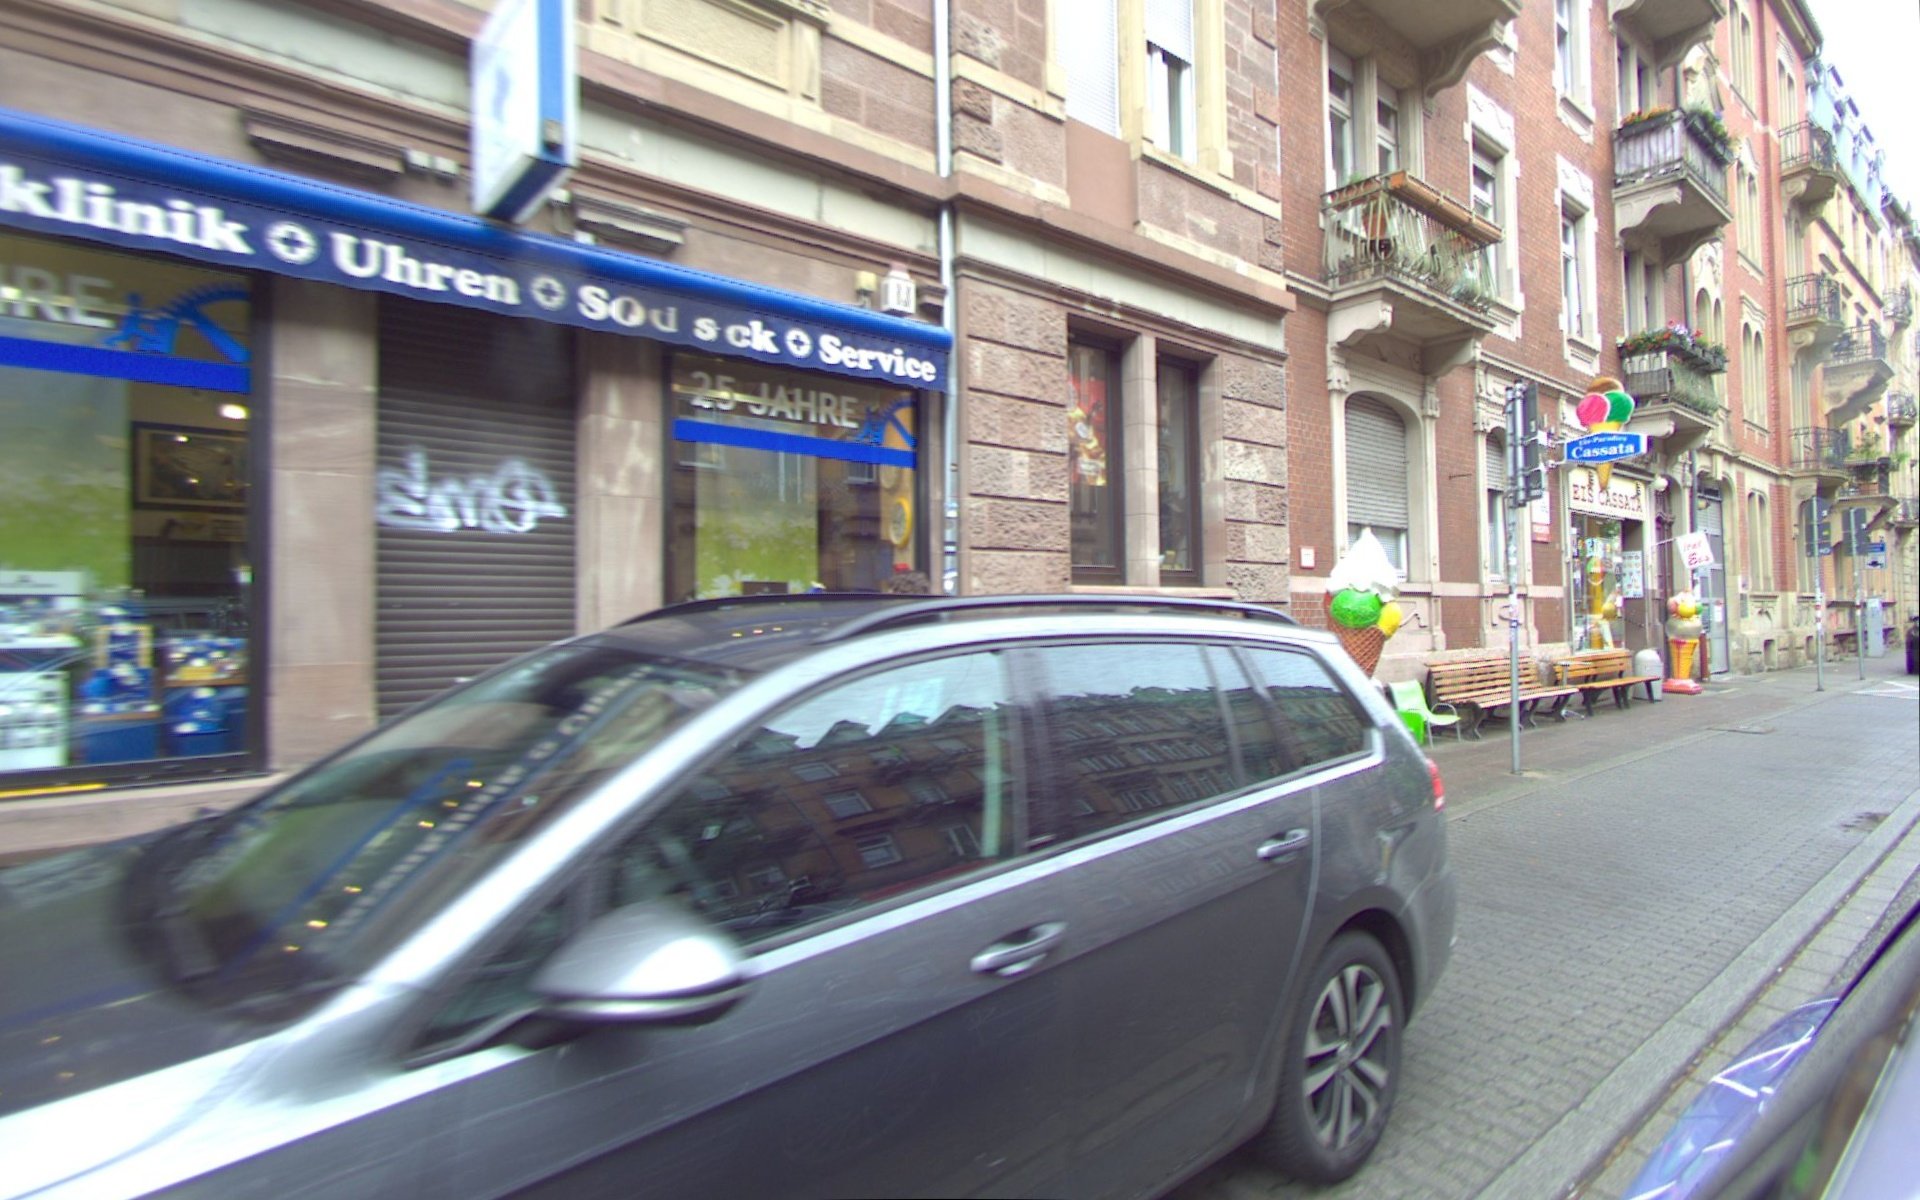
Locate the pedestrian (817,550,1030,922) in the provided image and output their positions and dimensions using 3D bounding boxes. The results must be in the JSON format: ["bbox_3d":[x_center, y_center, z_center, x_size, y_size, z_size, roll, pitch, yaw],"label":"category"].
[{"bbox_3d":[-0.181,0.596,4.966,0.795,1.634,0.680,0,-1,-40],"label":"pedestrian"}]

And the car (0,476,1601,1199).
[{"bbox_3d":[-0.068,0.691,2.580,3.934,1.565,1.843,0,-1,-42],"label":"car"}]

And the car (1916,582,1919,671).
[{"bbox_3d":[21.960,0.515,21.487,4.743,1.802,1.996,0,-1,-42],"label":"car"}]
